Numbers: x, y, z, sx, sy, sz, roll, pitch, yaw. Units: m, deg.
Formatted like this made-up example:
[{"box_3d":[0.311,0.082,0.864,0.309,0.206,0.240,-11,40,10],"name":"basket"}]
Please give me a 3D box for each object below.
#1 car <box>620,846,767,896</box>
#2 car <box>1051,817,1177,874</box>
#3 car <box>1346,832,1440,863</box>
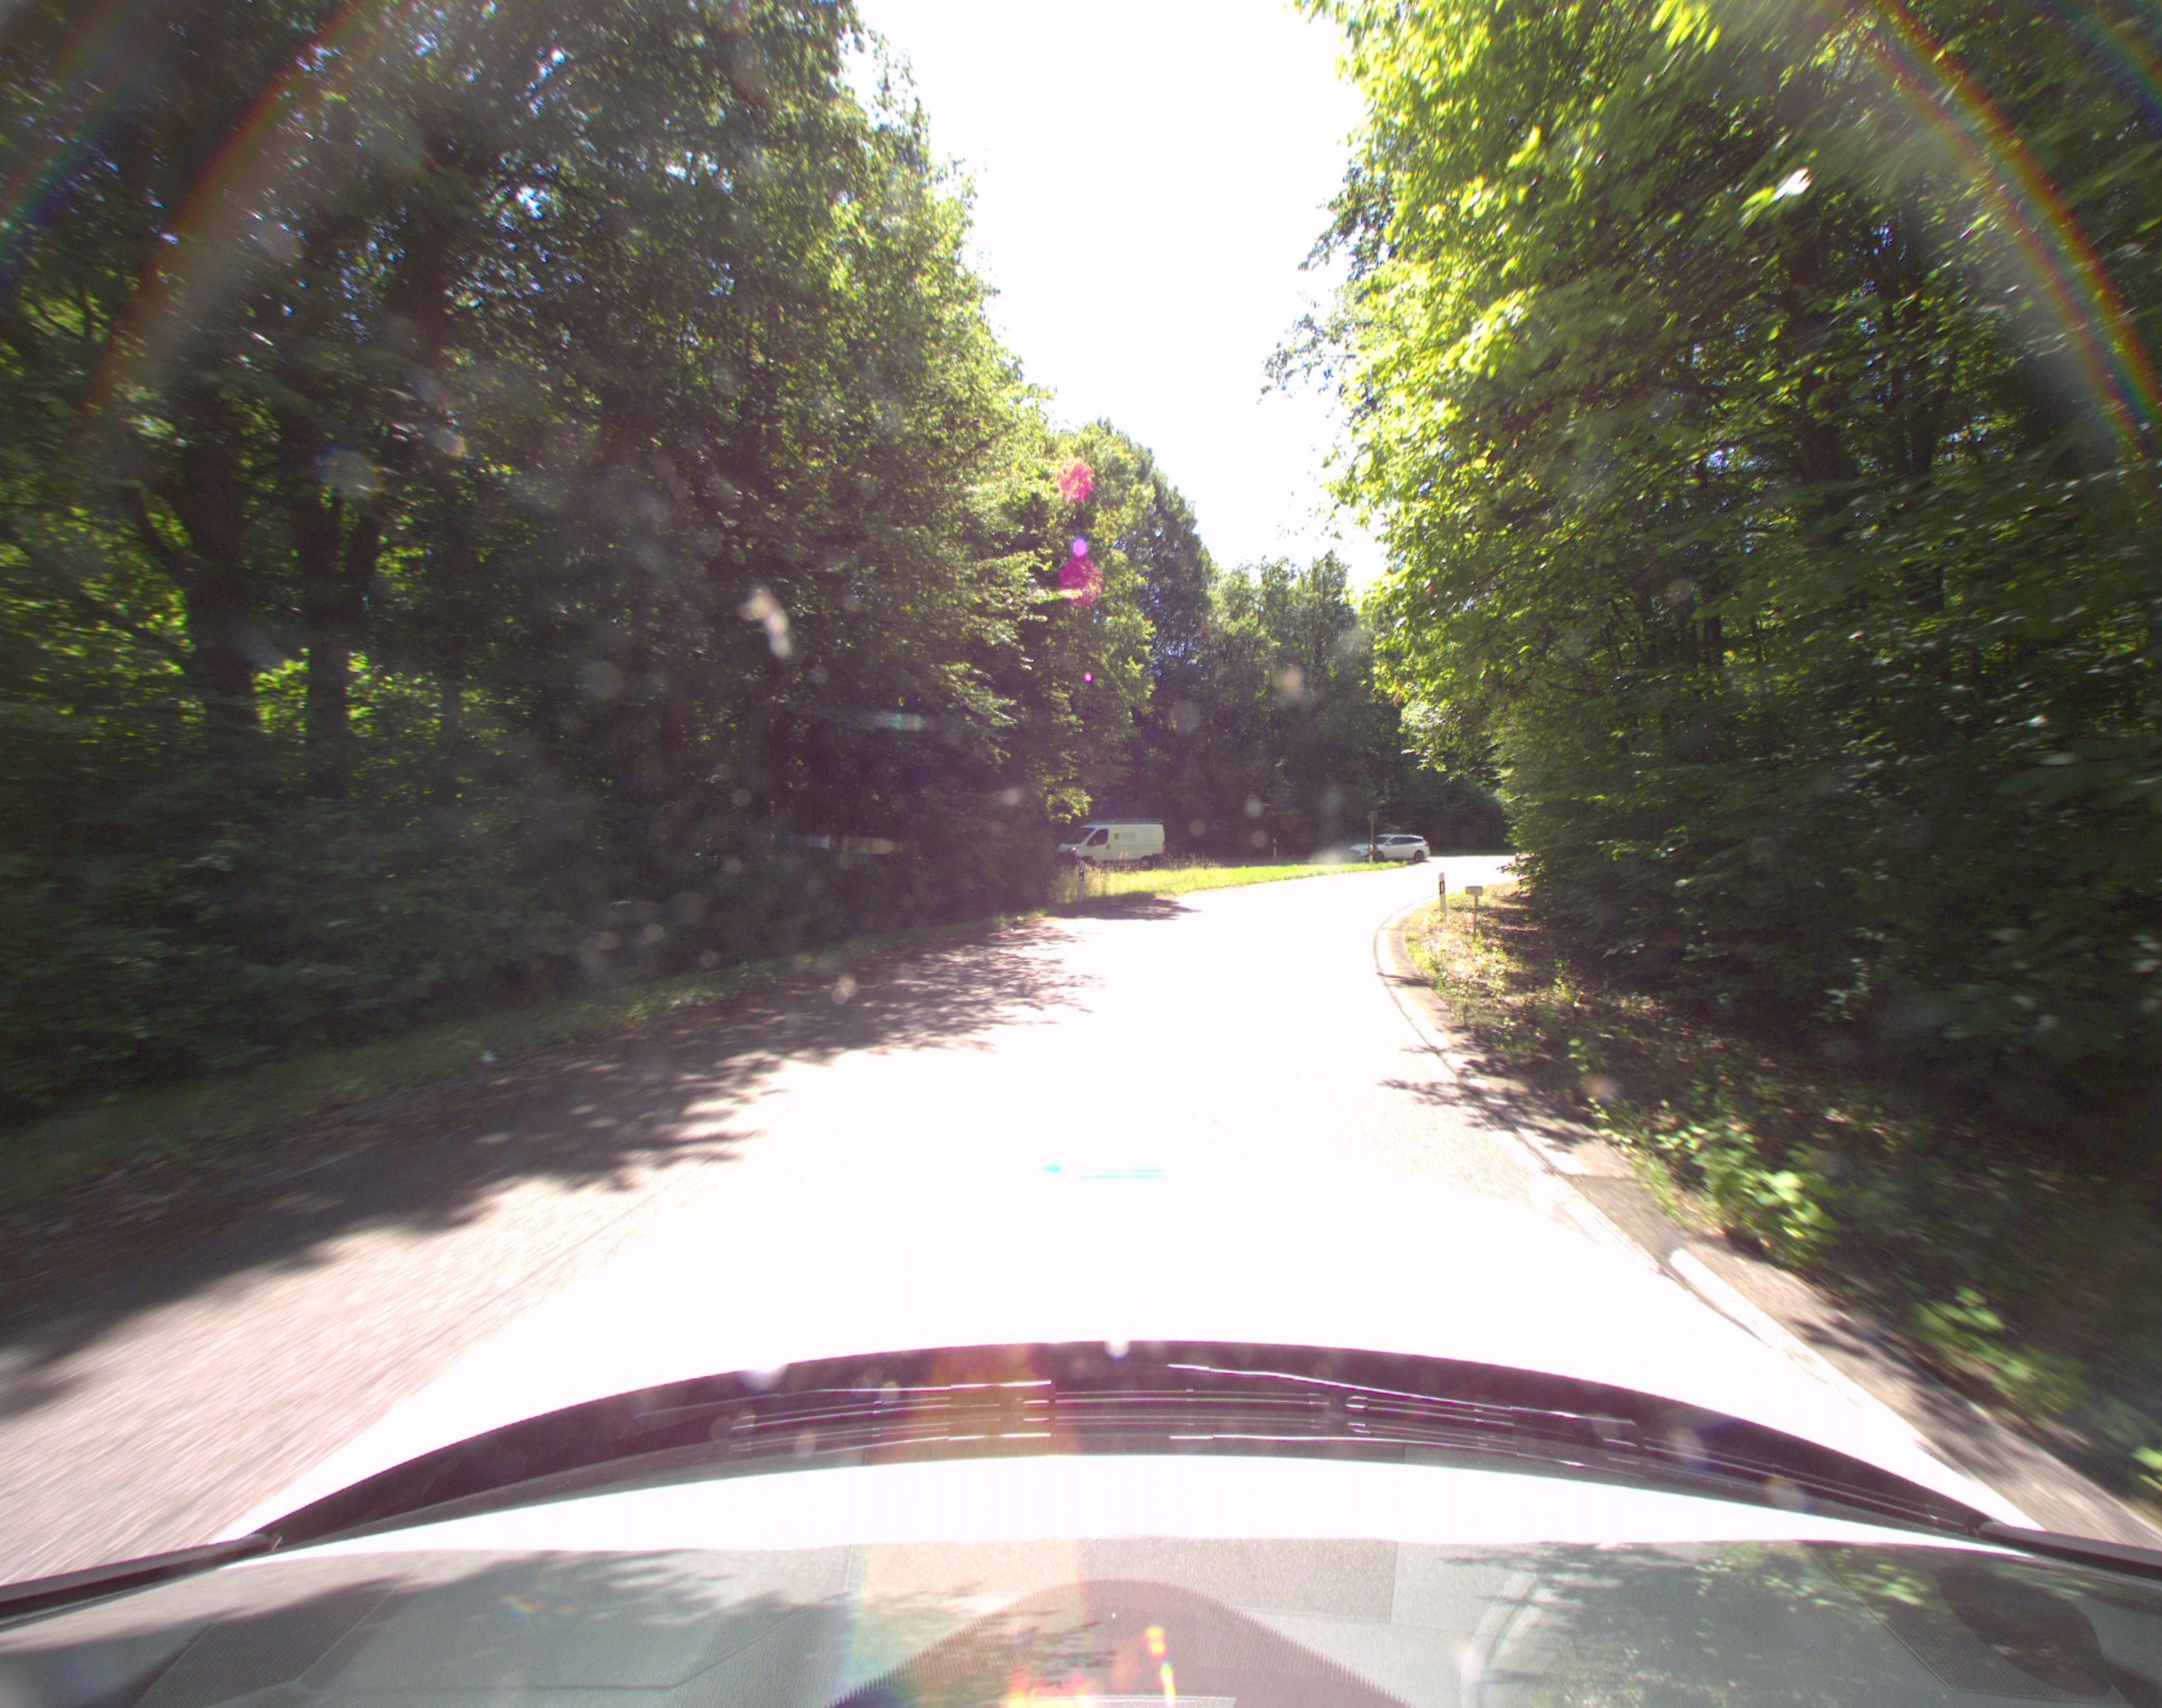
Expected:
[{"box_3d":[-13.657,0.539,28.883,4.549,1.451,1.746,-2,4,-27],"name":"car"},{"box_3d":[1.544,-0.454,37.134,5.437,2.345,2.051,-2,4,-26],"name":"car"},{"box_3d":[16.642,-0.394,43.414,4.876,1.451,1.748,-2,4,-24],"name":"car"}]
